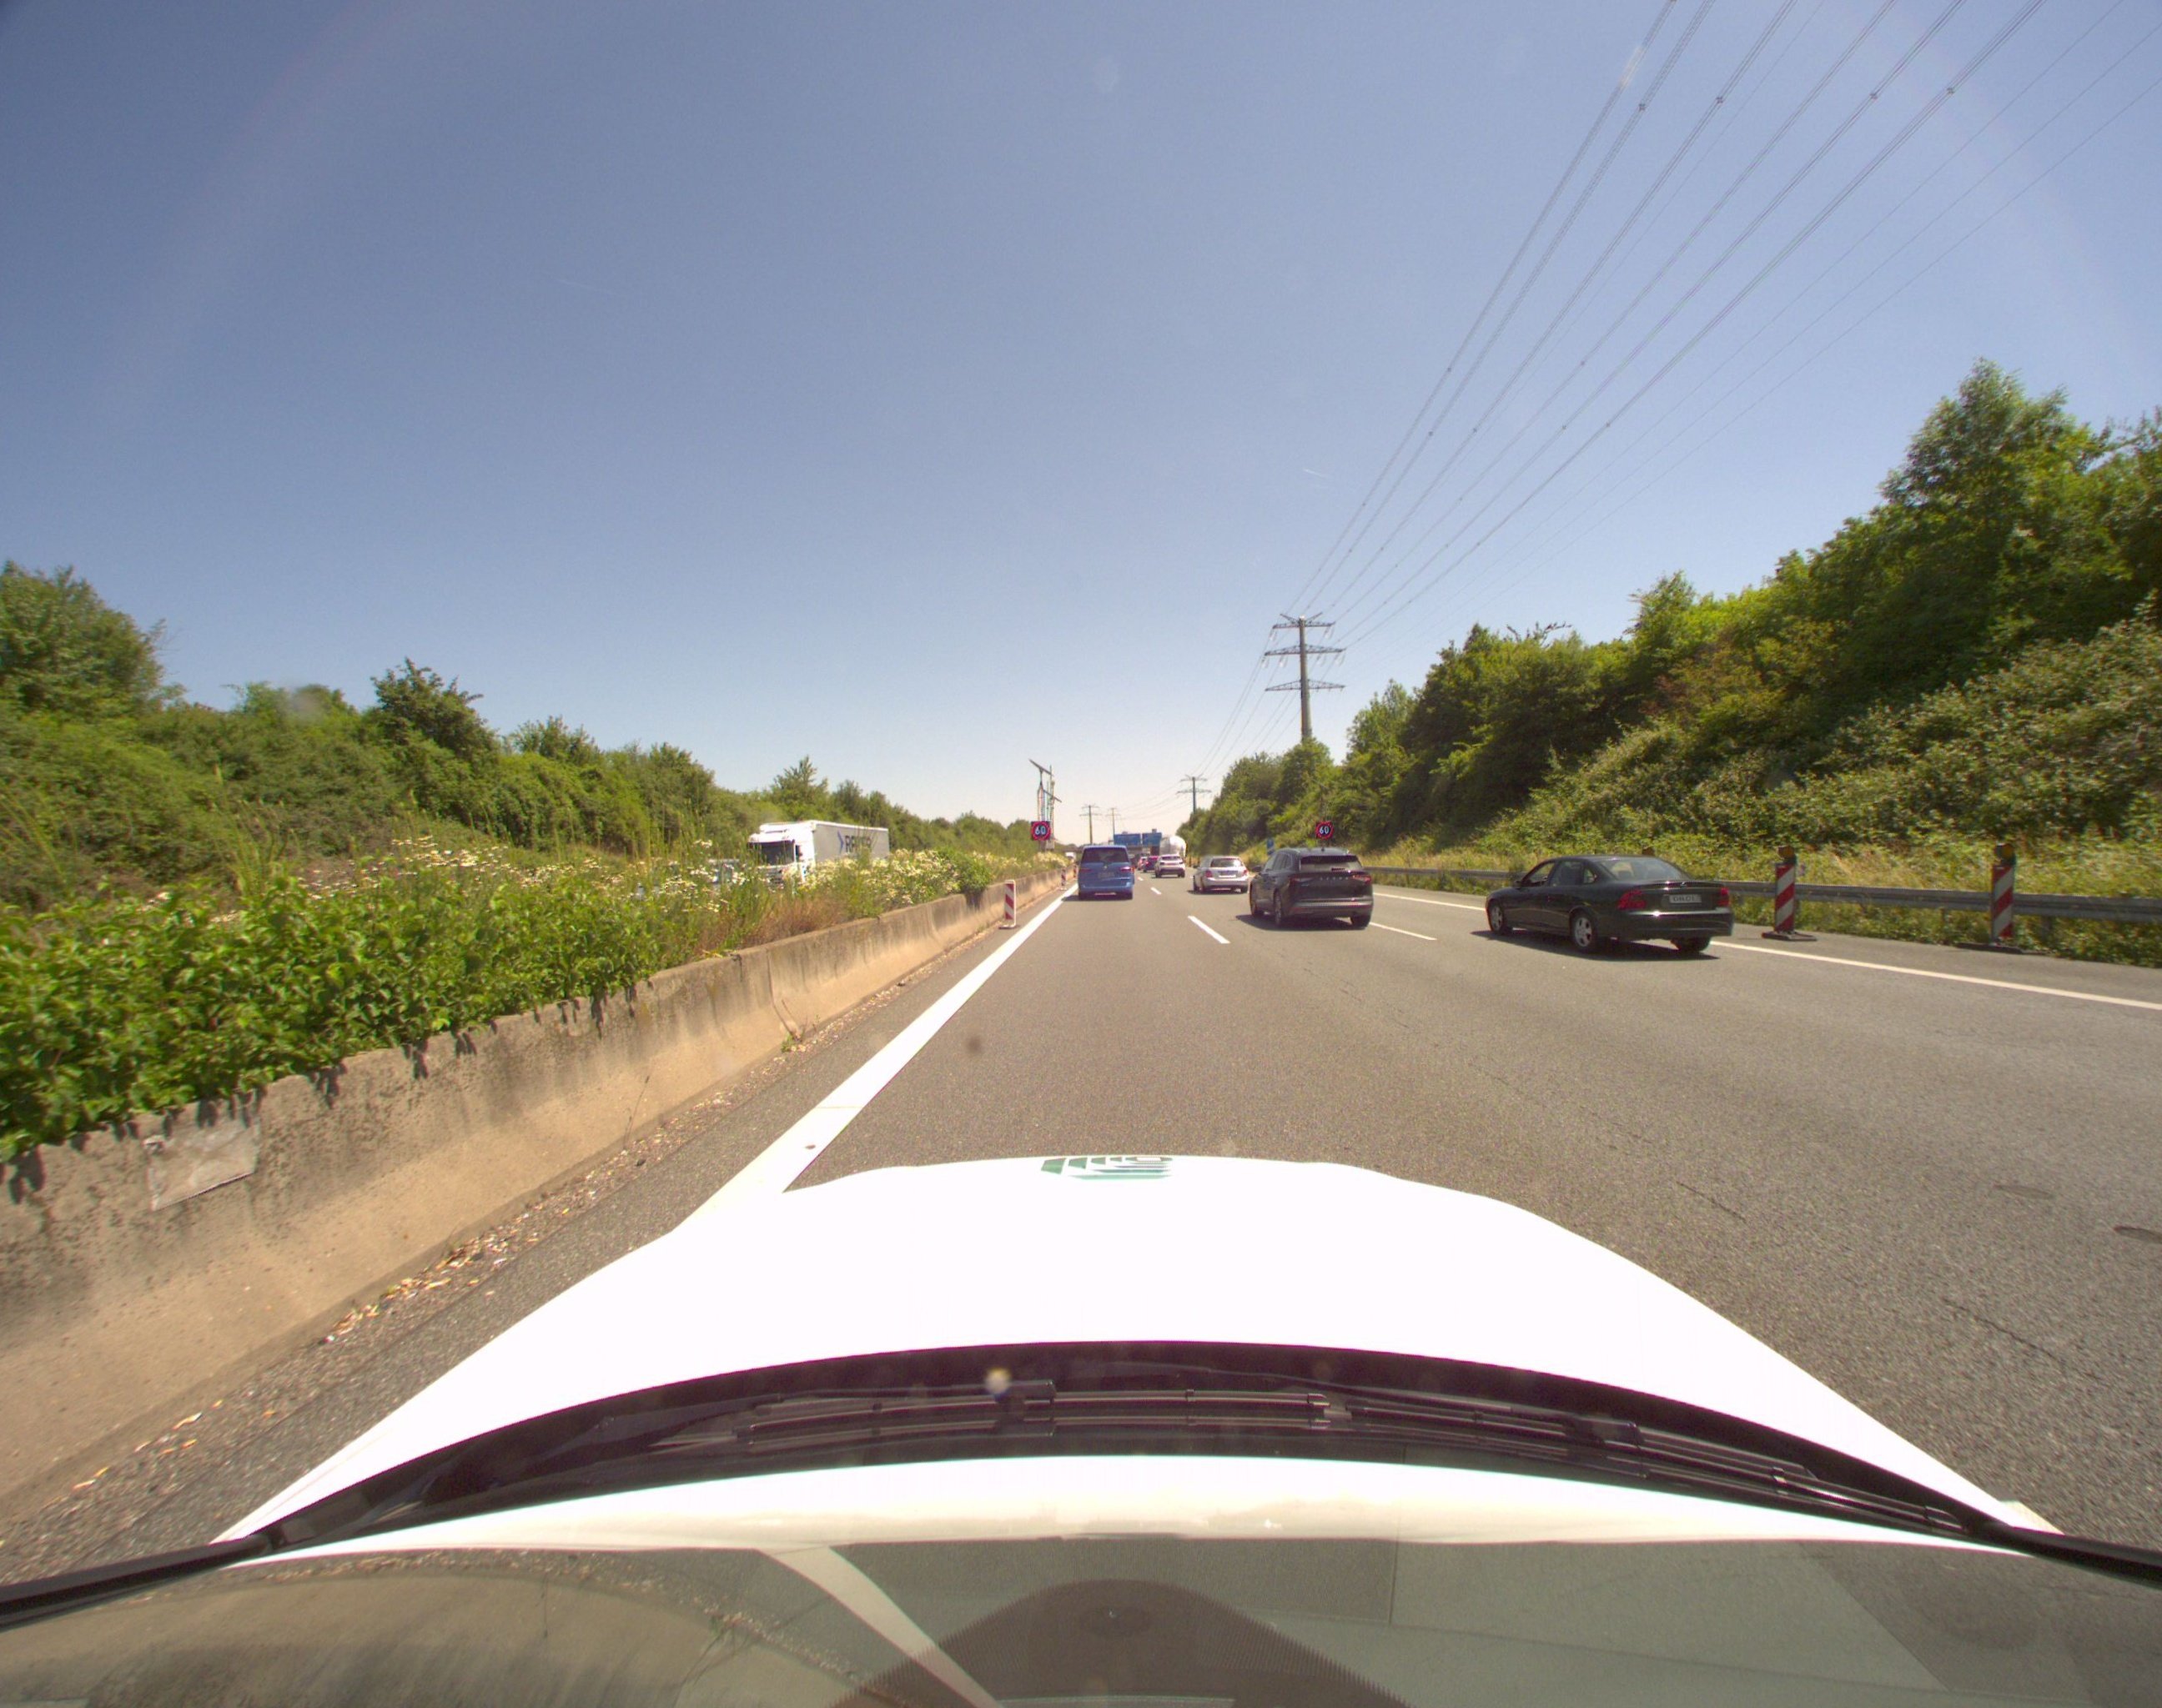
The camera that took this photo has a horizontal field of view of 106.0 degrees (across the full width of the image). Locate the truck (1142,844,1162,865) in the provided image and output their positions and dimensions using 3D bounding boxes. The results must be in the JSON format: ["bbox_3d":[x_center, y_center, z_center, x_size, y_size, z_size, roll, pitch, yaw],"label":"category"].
[{"bbox_3d":[12.362,0.113,142.815,2.635,3.539,12.553,0,0,1],"label":"truck"}]

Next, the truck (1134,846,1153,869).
[{"bbox_3d":[7.667,0.428,100.296,1.986,2.723,5.681,0,0,1],"label":"truck"}]

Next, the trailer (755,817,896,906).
[{"bbox_3d":[-14.268,0.398,47.360,3.005,4.166,14.026,-5,0,2],"label":"trailer"}]

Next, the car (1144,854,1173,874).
[{"bbox_3d":[6.169,0.806,65.482,1.902,1.569,4.383,0,0,0],"label":"car"}]

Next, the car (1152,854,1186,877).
[{"bbox_3d":[5.913,0.744,55.059,1.902,1.508,3.921,0,0,0],"label":"car"}]

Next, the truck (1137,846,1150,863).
[{"bbox_3d":[16.435,0.219,214.865,2.927,4.291,12.553,0,0,1],"label":"truck"}]

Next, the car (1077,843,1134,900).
[{"bbox_3d":[0.816,0.596,29.367,1.865,1.879,4.382,0,0,0],"label":"car"}]

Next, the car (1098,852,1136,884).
[{"bbox_3d":[1.910,0.733,44.371,1.902,1.631,4.384,-1,0,1],"label":"car"}]

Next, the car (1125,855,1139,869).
[{"bbox_3d":[7.821,1.225,125.390,1.986,2.014,4.000,0,0,1],"label":"car"}]

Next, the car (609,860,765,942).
[{"bbox_3d":[-10.763,1.188,22.659,1.933,1.888,4.430,-5,0,1],"label":"car"}]

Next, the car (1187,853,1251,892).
[{"bbox_3d":[5.401,0.706,32.387,1.815,1.437,4.383,0,0,0],"label":"car"}]

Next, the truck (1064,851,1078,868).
[{"bbox_3d":[-2.457,1.305,199.584,2.753,3.888,9.032,-5,0,1],"label":"truck"}]

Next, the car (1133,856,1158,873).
[{"bbox_3d":[5.777,0.936,73.227,1.902,1.516,4.383,0,0,0],"label":"car"}]

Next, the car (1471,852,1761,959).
[{"bbox_3d":[7.988,0.674,12.744,1.729,1.378,4.302,0,0,0],"label":"car"}]

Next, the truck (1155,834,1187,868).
[{"bbox_3d":[11.355,-0.314,104.241,2.635,4.072,16.443,0,0,1],"label":"truck"}]

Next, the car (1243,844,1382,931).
[{"bbox_3d":[4.836,0.632,17.671,1.821,1.614,4.431,-1,0,1],"label":"car"}]

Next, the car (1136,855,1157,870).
[{"bbox_3d":[6.896,0.901,85.994,1.902,1.516,4.383,0,0,0],"label":"car"}]

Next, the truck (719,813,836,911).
[{"bbox_3d":[-14.520,0.370,39.513,3.005,4.166,5.808,-5,0,2],"label":"truck"}]
